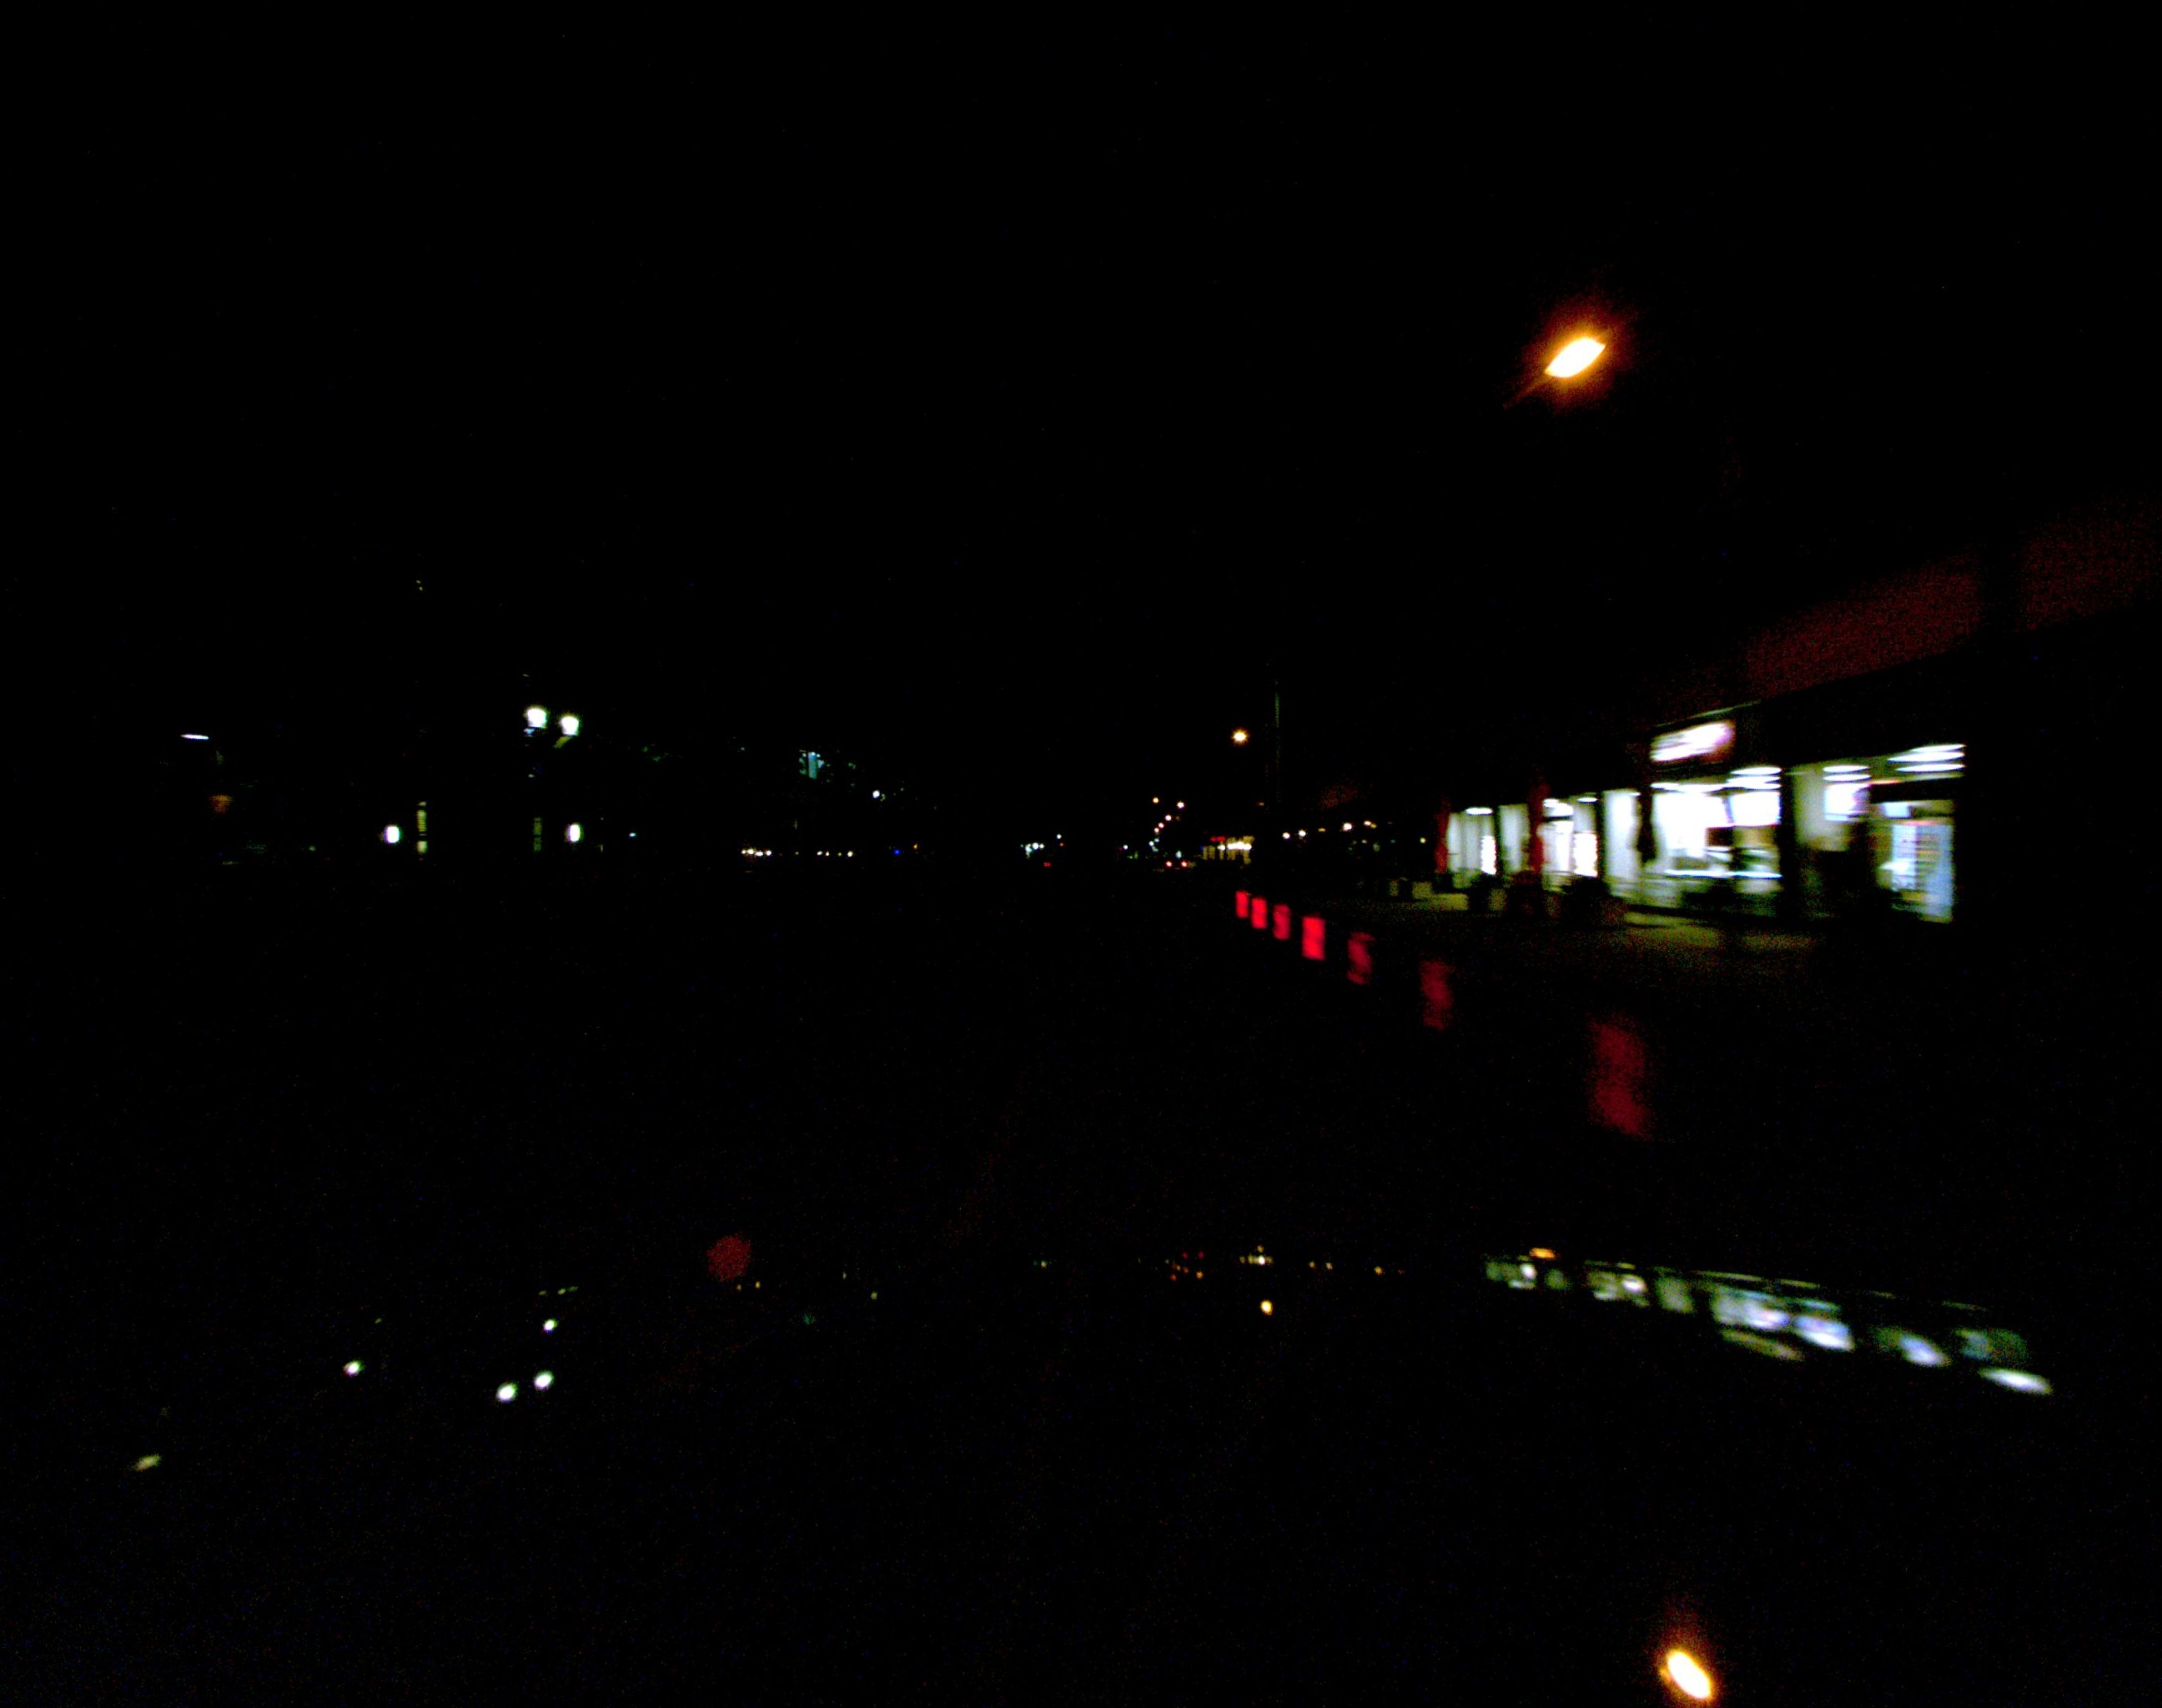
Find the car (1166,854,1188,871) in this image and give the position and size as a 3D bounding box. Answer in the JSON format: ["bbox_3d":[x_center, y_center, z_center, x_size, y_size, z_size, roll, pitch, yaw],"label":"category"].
[{"bbox_3d":[8.531,0.771,67.679,1.670,1.420,4.001,1,0,3],"label":"car"}]
